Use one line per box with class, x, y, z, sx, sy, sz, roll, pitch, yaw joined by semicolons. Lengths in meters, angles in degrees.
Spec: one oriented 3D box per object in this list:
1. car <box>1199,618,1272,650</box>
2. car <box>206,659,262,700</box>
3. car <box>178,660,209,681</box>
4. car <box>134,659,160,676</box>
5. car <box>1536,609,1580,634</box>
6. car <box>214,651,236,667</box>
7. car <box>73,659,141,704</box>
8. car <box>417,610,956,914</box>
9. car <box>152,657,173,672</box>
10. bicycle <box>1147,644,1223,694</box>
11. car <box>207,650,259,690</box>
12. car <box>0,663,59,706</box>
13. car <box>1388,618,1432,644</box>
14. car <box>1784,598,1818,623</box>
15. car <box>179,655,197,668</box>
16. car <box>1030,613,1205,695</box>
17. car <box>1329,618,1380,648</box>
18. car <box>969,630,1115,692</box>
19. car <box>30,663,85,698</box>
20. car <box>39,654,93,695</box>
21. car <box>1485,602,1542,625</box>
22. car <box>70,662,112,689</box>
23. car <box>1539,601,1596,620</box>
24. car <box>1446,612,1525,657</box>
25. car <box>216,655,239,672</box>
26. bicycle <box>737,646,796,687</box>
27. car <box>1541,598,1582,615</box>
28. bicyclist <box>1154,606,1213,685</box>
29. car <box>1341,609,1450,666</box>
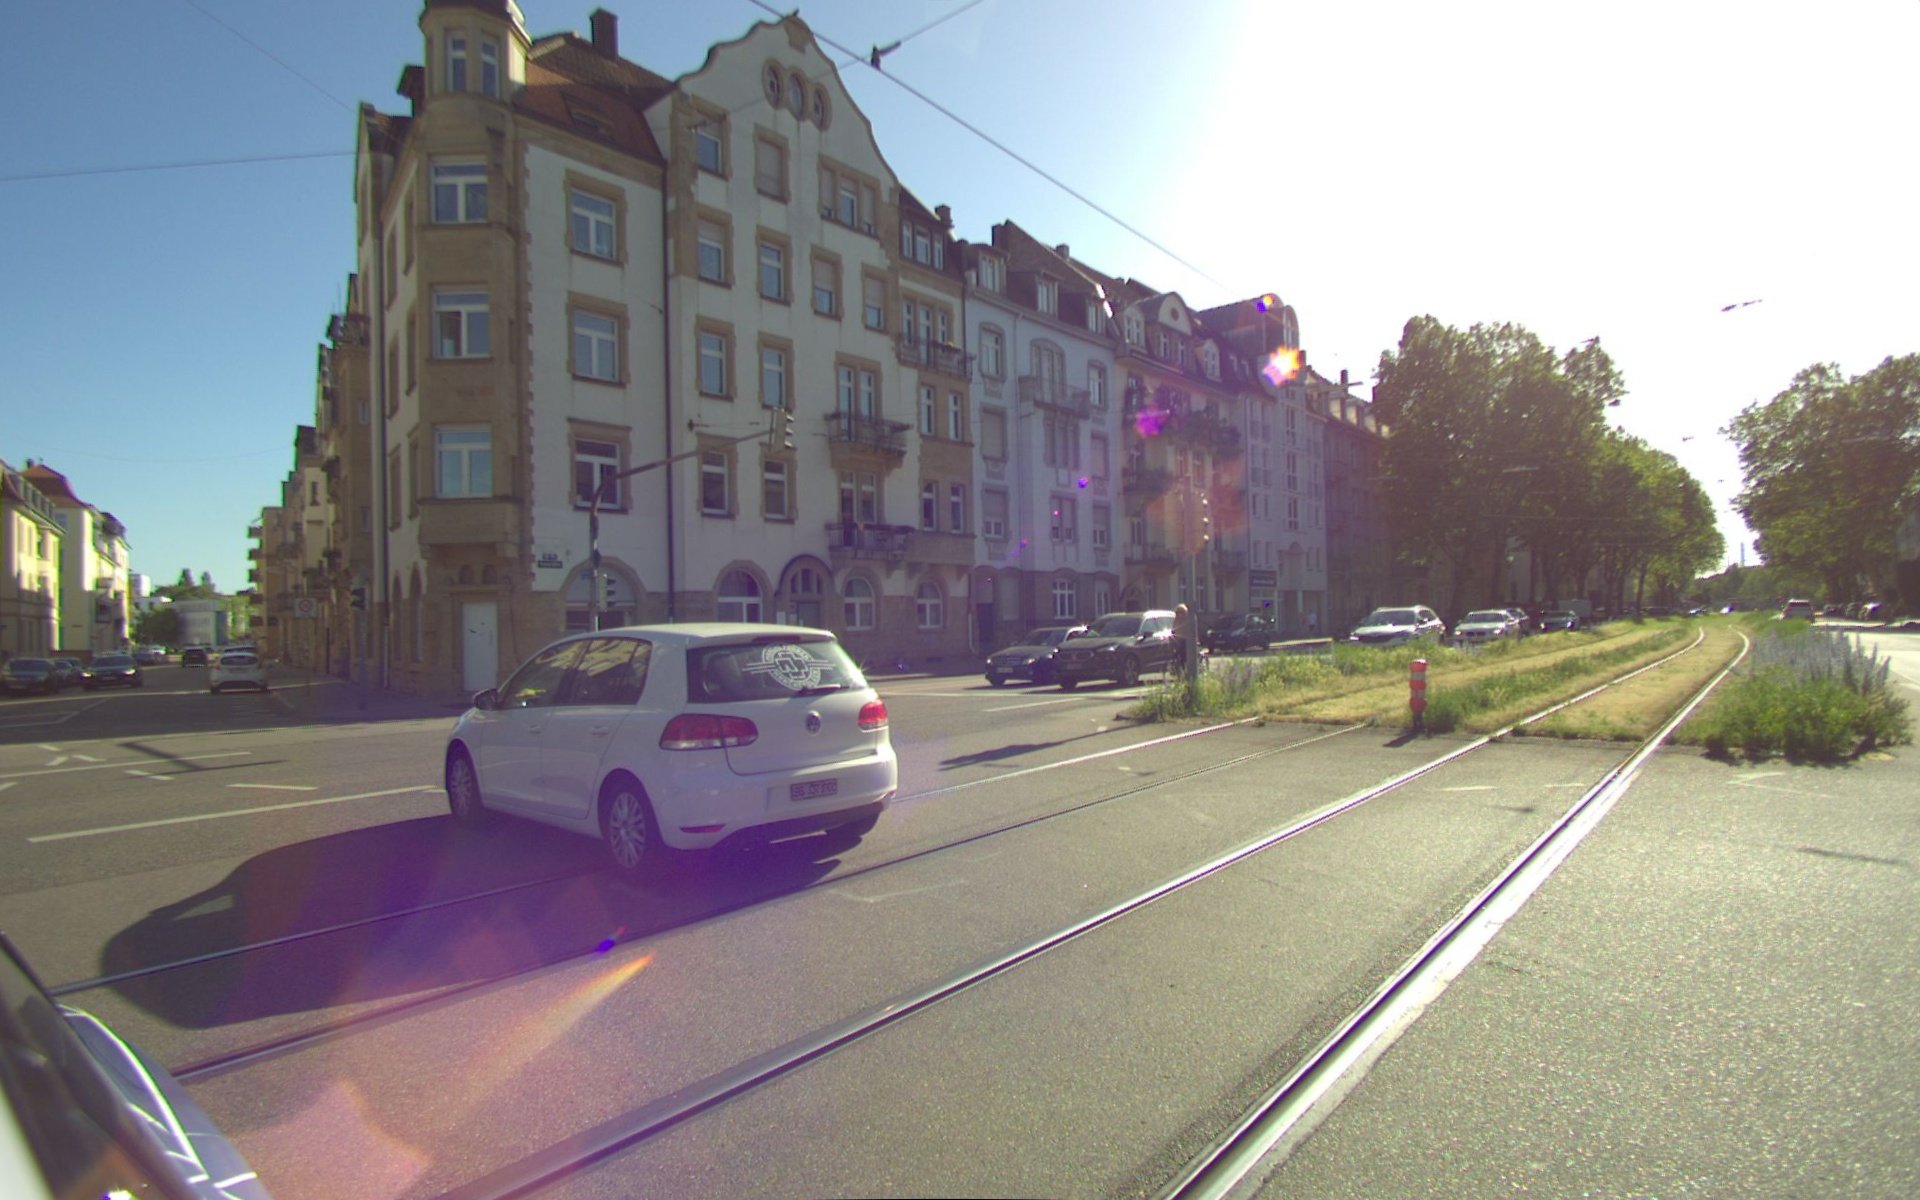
car;12.876;1.570;47.190;1.765;1.400;3.843;-3;-2;41
car;-26.609;2.893;37.149;1.531;1.422;3.580;2;-4;-34
car;-67.320;6.154;88.937;1.887;1.741;4.357;0;-3;-34
car;-87.799;7.281;109.322;1.848;1.679;4.010;-2;-1;-35
car;39.596;1.410;66.921;1.818;1.603;4.189;-2;-2;40
car;-83.636;6.716;115.165;1.888;1.636;4.355;-5;1;-37
car;-37.007;3.476;44.005;1.848;1.679;4.010;-2;-1;-35
car;-2.092;0.892;6.983;4.001;1.469;1.786;-4;-3;44
car;-101.345;8.196;128.661;1.848;1.679;4.010;-2;-1;-35
bicycle;4.582;1.382;20.519;0.794;0.932;1.615;-4;-3;41
car;-35.559;3.395;49.555;1.887;1.671;4.357;-5;1;-35
car;-37.802;3.385;40.598;1.967;1.549;4.010;-3;-1;-35
car;30.190;2.058;67.805;1.642;1.600;3.355;-5;-3;42
car;66.896;0.826;80.513;1.984;1.850;4.060;-3;-2;40
car;-108.020;8.549;141.659;1.848;1.679;4.010;-2;-1;-35
car;3.699;1.206;23.300;1.999;1.657;4.182;-5;-3;41
car;23.049;1.927;59.115;1.642;1.600;3.355;-5;-3;42
car;2.161;1.527;26.060;1.765;1.400;3.843;-4;-3;41
car;-47.281;4.196;53.071;1.805;1.608;3.827;-3;-1;-38
car;-49.995;4.162;56.651;1.805;2.050;3.828;-3;-1;-36
car;48.103;1.179;88.019;3.756;1.718;1.846;-4;0;1
car;-57.440;4.965;66.930;1.805;1.608;3.827;-3;-1;-38
car;62.773;1.056;104.617;4.531;1.718;1.845;-4;0;3
car;19.616;1.260;37.731;1.764;1.541;3.845;-5;-4;39
car;-80.148;6.902;110.722;1.888;1.636;4.355;-5;1;-37
bicycle;-5.868;2.000;30.748;0.610;1.142;1.786;-3;-2;39
car;69.194;0.704;116.554;3.788;1.718;1.830;-4;0;26
bicyclist;4.519;0.905;20.456;0.687;1.554;1.060;-3;-2;41
car;12.835;1.084;29.705;1.765;1.541;3.965;-3;-2;41
